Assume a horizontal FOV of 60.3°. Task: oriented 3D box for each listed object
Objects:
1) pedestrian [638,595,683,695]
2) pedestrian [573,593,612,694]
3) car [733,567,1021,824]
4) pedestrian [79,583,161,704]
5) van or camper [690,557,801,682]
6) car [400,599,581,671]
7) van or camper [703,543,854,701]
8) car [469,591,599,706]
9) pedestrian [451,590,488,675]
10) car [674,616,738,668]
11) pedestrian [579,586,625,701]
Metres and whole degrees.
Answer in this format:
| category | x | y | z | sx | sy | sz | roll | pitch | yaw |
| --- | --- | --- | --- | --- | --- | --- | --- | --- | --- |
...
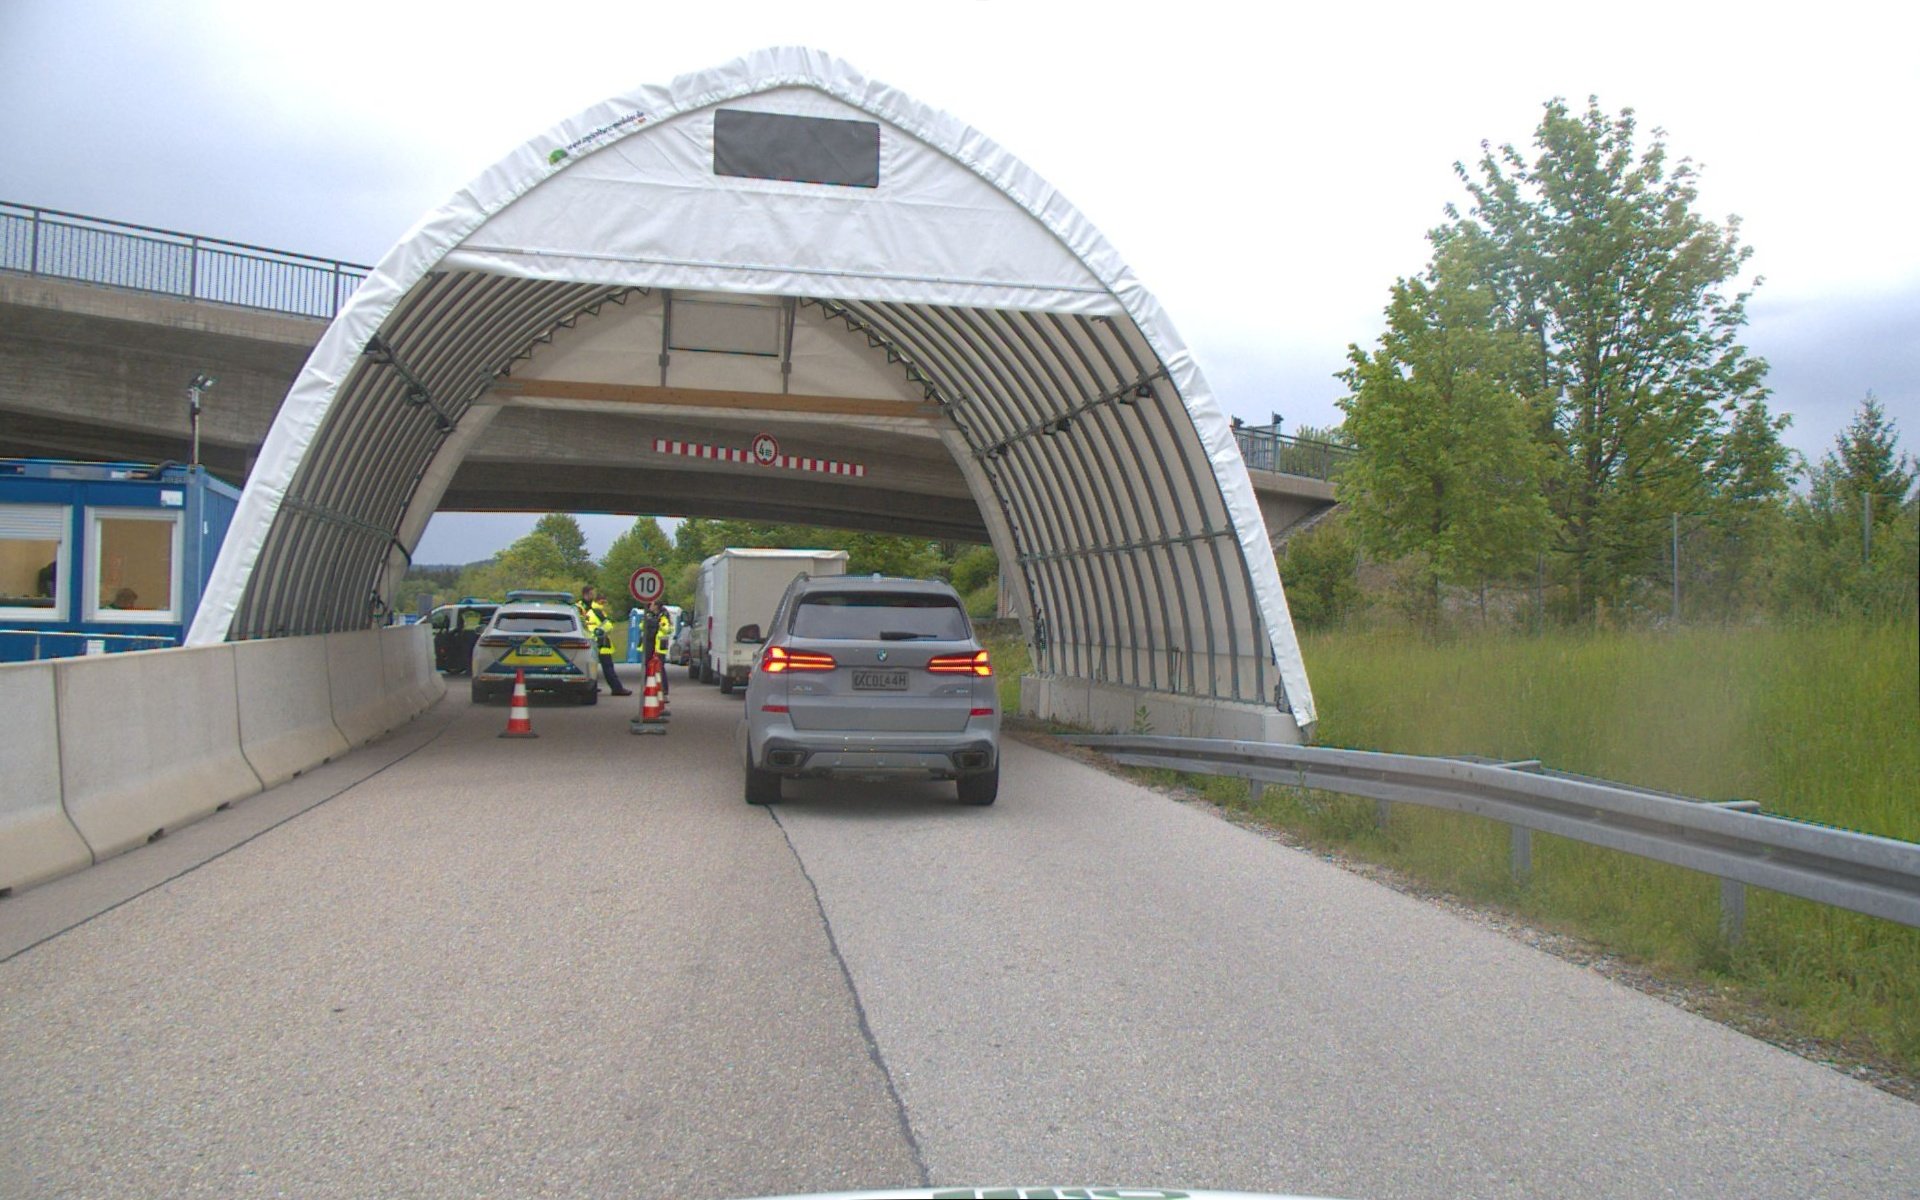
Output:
| category | x | y | z | sx | sy | sz | roll | pitch | yaw |
| --- | --- | --- | --- | --- | --- | --- | --- | --- | --- |
| pedestrian | -5.291 | 0.787 | 29.216 | 0.741 | 1.752 | 0.779 | 0 | -1 | -15 |
| pedestrian | -6.547 | 0.770 | 29.466 | 0.597 | 1.784 | 0.665 | 0 | -1 | -6 |
| car | -0.845 | 0.688 | 13.701 | 1.957 | 1.796 | 3.991 | 0 | -1 | -9 |
| pedestrian | -9.844 | 0.503 | 19.402 | 0.597 | 1.397 | 0.628 | 0 | -1 | 8 |
| van or camper | -4.850 | 0.434 | 36.749 | 2.066 | 2.563 | 5.535 | 0 | -1 | -11 |
| car | -13.707 | 1.015 | 48.406 | 4.703 | 2.049 | 1.842 | 0 | -1 | 7 |
| van or camper | -3.510 | 0.397 | 30.725 | 2.191 | 2.597 | 6.591 | 0 | -1 | -12 |
| car | -6.748 | 0.729 | 26.248 | 1.846 | 1.675 | 3.984 | 0 | -1 | -15 |
| pedestrian | -11.915 | 0.778 | 40.187 | 0.686 | 2.049 | 0.692 | 0 | -1 | -1 |
| car | -8.971 | 1.446 | 58.138 | 1.959 | 1.752 | 3.883 | 0 | -1 | -13 |
| pedestrian | -6.163 | 0.741 | 28.442 | 0.736 | 1.952 | 0.760 | 0 | -1 | -15 |
